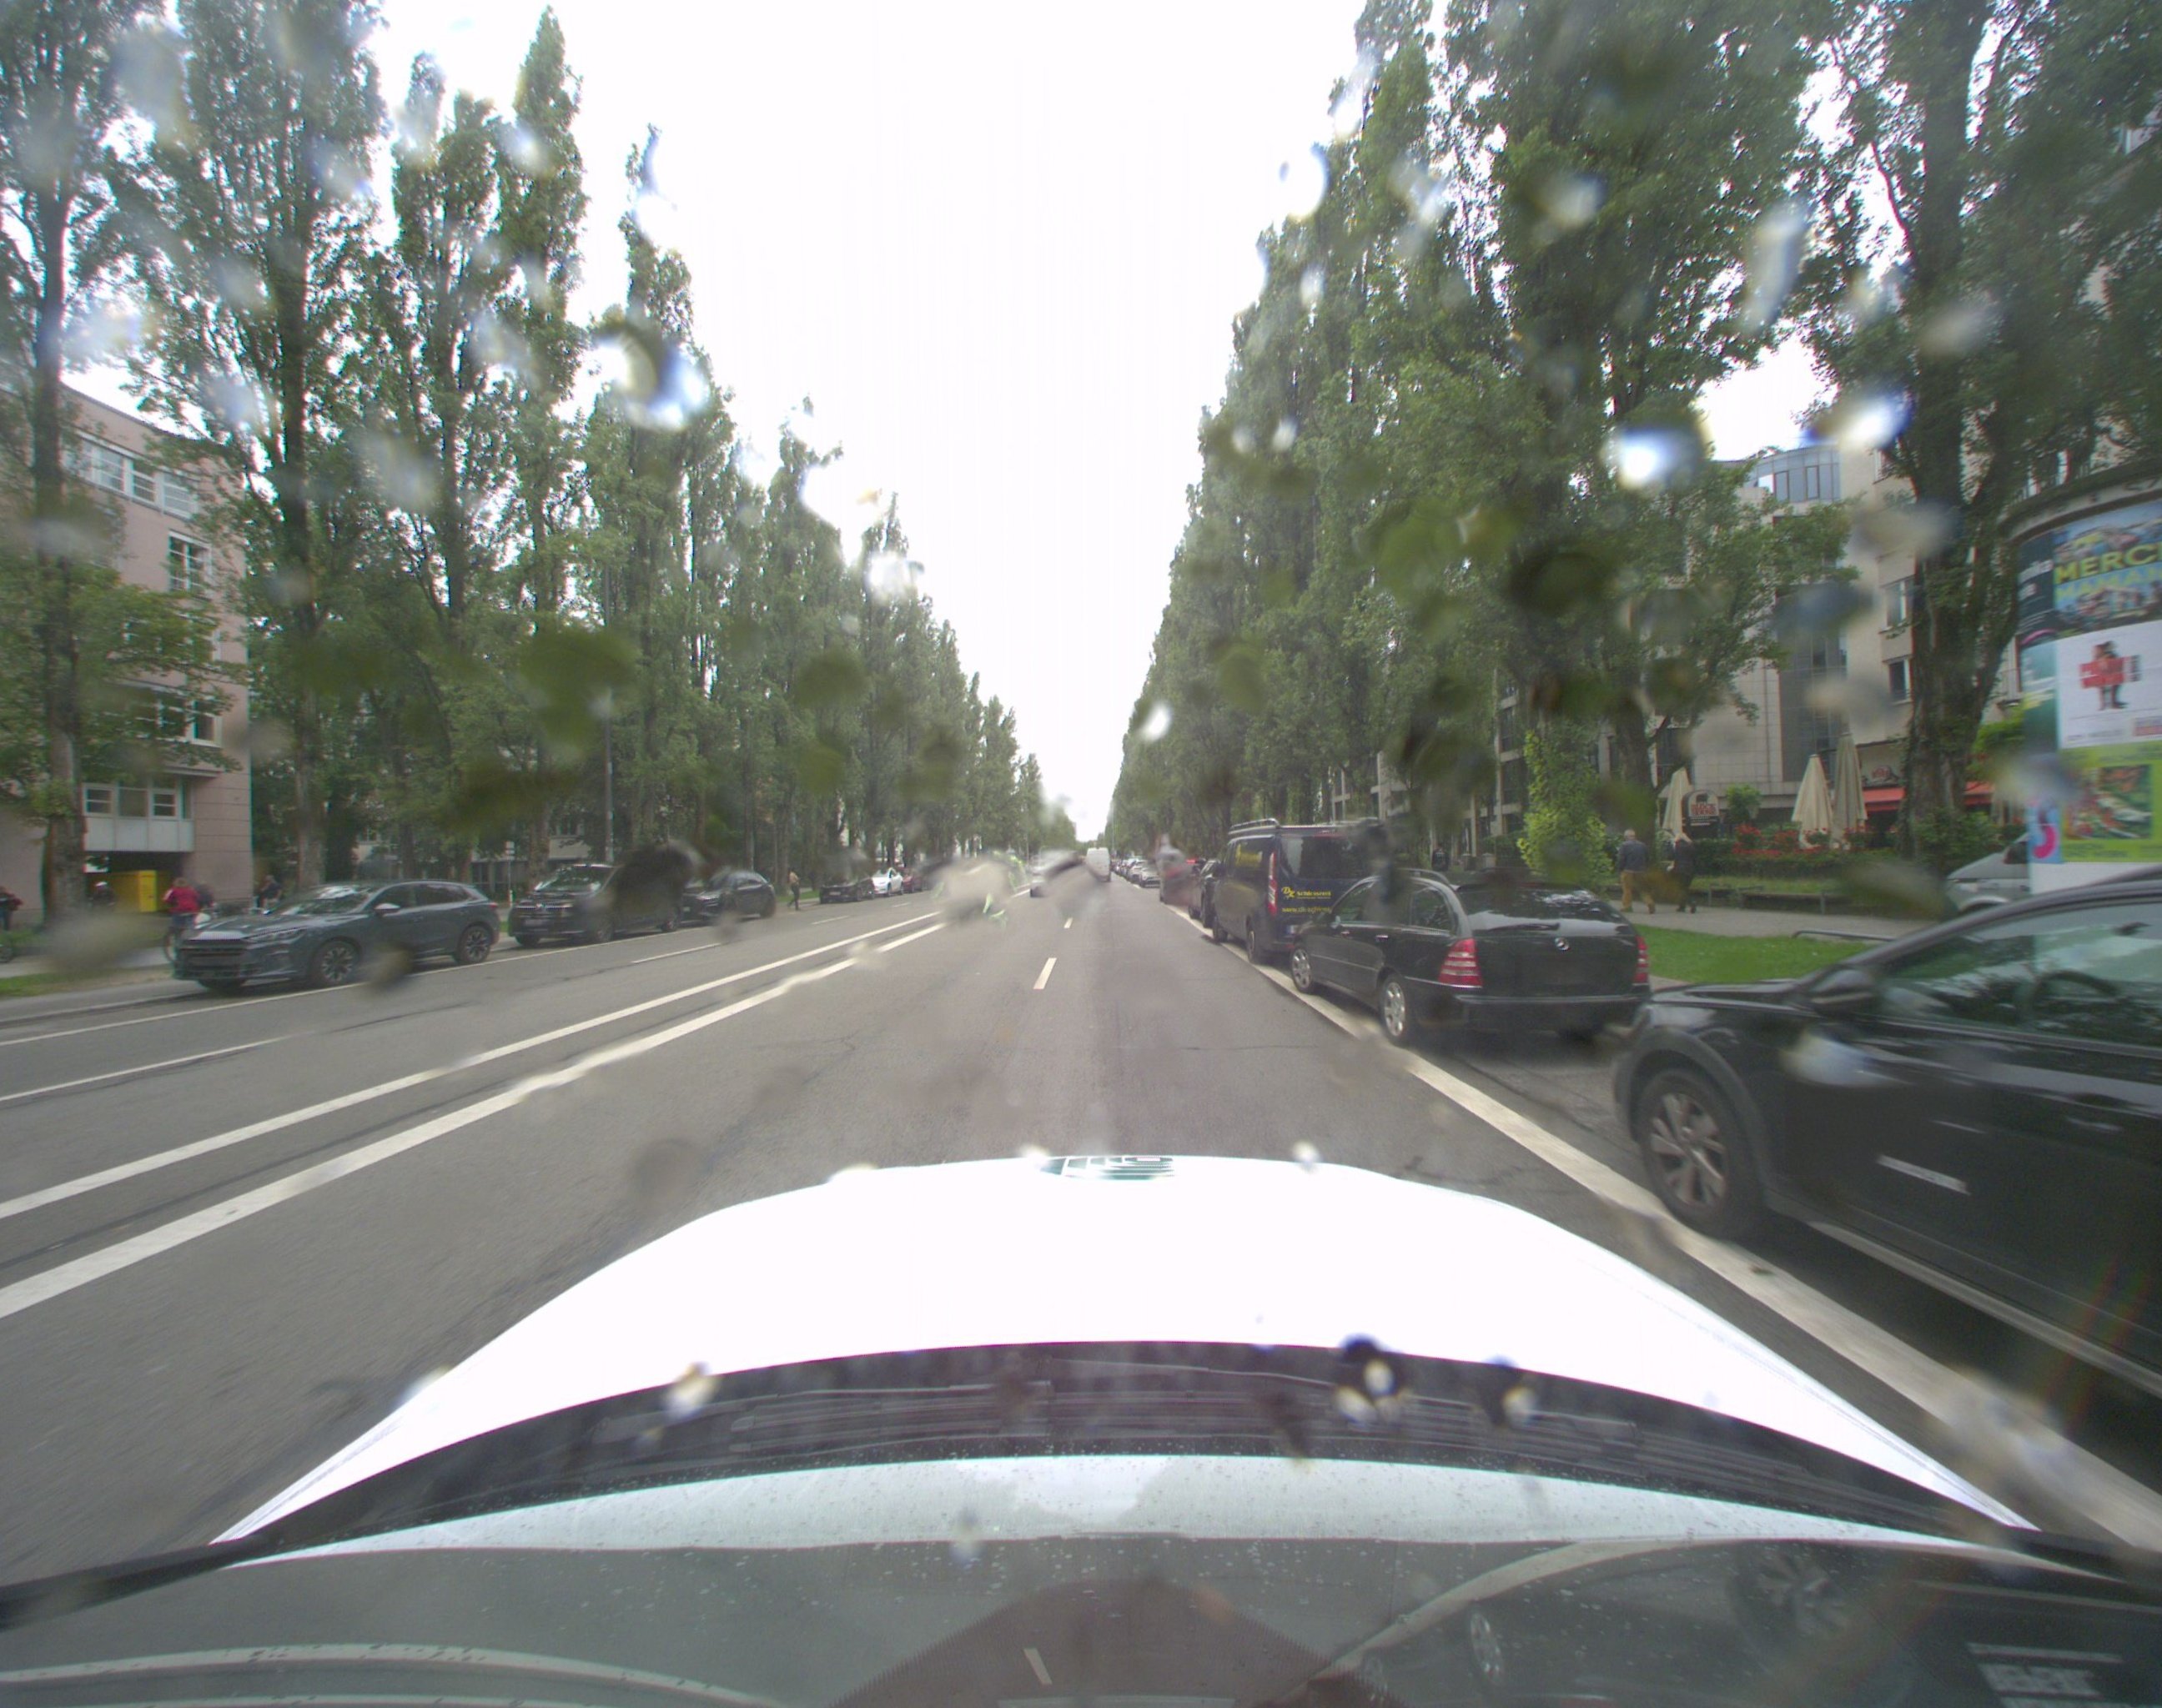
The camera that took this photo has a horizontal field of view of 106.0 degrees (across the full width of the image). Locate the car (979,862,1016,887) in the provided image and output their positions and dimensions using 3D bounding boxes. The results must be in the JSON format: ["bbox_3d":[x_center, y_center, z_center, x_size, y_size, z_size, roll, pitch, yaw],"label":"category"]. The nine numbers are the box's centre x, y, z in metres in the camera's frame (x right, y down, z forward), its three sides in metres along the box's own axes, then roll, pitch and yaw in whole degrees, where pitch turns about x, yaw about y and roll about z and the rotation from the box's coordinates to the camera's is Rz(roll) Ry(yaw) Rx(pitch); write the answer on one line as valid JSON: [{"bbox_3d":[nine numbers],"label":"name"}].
[{"bbox_3d":[-5.562,1.347,54.718,1.987,1.548,4.638,0,0,1],"label":"car"}]

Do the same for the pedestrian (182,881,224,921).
[{"bbox_3d":[-38.083,2.016,35.341,0.811,1.662,0.897,-2,-1,1],"label":"pedestrian"}]

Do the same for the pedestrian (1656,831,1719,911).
[{"bbox_3d":[12.656,0.350,17.014,0.692,1.606,0.835,-2,0,5],"label":"pedestrian"}]

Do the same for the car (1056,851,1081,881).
[{"bbox_3d":[-1.097,1.065,73.506,2.069,2.556,5.931,0,0,0],"label":"car"}]

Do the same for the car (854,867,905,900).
[{"bbox_3d":[-11.073,1.568,45.022,1.755,1.579,3.973,-2,1,1],"label":"car"}]

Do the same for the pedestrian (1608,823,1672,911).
[{"bbox_3d":[11.833,0.281,17.255,0.744,1.803,0.844,-2,-1,5],"label":"pedestrian"}]

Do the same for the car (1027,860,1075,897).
[{"bbox_3d":[-1.305,1.060,37.634,1.987,1.575,4.638,0,0,1],"label":"car"}]

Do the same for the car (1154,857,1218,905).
[{"bbox_3d":[3.695,0.923,29.299,1.737,1.591,3.949,0,-1,-1],"label":"car"}]

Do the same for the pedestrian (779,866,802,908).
[{"bbox_3d":[-11.592,1.312,32.528,0.666,1.657,0.600,-2,-1,-5],"label":"pedestrian"}]

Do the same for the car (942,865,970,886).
[{"bbox_3d":[-10.712,1.827,69.885,1.755,1.579,3.462,-2,1,1],"label":"car"}]

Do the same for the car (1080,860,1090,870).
[{"bbox_3d":[0.637,1.931,143.264,1.737,1.643,3.949,0,-1,-1],"label":"car"}]

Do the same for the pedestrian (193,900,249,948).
[{"bbox_3d":[-23.063,1.871,21.849,0.704,1.204,0.732,-2,0,1],"label":"pedestrian"}]

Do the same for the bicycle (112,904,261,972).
[{"bbox_3d":[-16.457,1.529,15.009,1.975,1.124,0.676,-2,0,1],"label":"bicycle"}]

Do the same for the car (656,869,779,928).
[{"bbox_3d":[-11.372,1.334,25.827,1.988,1.606,4.350,-2,0,-2],"label":"car"}]

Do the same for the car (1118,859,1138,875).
[{"bbox_3d":[4.823,1.340,83.552,1.737,1.643,3.949,0,-1,-1],"label":"car"}]

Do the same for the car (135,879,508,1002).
[{"bbox_3d":[-12.079,1.264,13.476,1.986,1.542,4.326,-2,0,2],"label":"car"}]

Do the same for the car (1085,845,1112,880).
[{"bbox_3d":[1.348,0.618,64.828,2.033,2.652,6.042,0,0,1],"label":"car"}]

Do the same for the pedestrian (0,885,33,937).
[{"bbox_3d":[-35.912,1.901,27.136,0.811,1.662,0.897,-2,-1,1],"label":"pedestrian"}]

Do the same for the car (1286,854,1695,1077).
[{"bbox_3d":[3.381,0.791,7.771,1.737,1.527,4.233,0,-1,-1],"label":"car"}]

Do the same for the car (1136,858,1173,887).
[{"bbox_3d":[4.243,1.049,47.544,1.737,1.643,3.949,0,-1,-1],"label":"car"}]

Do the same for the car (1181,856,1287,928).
[{"bbox_3d":[3.537,0.840,19.461,1.737,1.527,3.949,0,-1,-1],"label":"car"}]

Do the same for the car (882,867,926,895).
[{"bbox_3d":[-10.998,1.665,50.792,1.755,1.579,3.973,-2,0,1],"label":"car"}]

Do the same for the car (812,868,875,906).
[{"bbox_3d":[-11.375,1.540,39.319,1.936,1.579,3.609,-2,1,0],"label":"car"}]

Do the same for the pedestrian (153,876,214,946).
[{"bbox_3d":[-22.908,1.433,20.797,0.704,1.713,0.732,-2,-1,1],"label":"pedestrian"}]

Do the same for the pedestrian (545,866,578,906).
[{"bbox_3d":[-22.298,1.363,34.967,0.811,1.662,0.897,-2,-1,1],"label":"pedestrian"}]

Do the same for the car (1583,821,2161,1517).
[{"bbox_3d":[3.242,0.688,1.980,1.736,1.527,3.909,0,-1,2],"label":"car"}]

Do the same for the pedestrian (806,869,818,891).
[{"bbox_3d":[-18.727,1.811,56.736,0.589,1.493,0.678,-2,-1,1],"label":"pedestrian"}]

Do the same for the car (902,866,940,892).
[{"bbox_3d":[-11.035,1.697,56.392,1.755,1.579,3.973,-2,1,1],"label":"car"}]

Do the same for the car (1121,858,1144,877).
[{"bbox_3d":[4.586,1.160,73.139,1.737,1.643,3.949,0,-1,-1],"label":"car"}]

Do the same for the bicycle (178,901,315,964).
[{"bbox_3d":[-16.375,1.528,16.008,1.975,1.124,0.676,-2,0,1],"label":"bicycle"}]

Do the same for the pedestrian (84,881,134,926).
[{"bbox_3d":[-37.867,1.926,31.737,0.811,1.662,0.897,-2,-1,1],"label":"pedestrian"}]

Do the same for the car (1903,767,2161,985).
[{"bbox_3d":[10.265,0.163,6.702,1.802,1.896,5.205,-2,-1,2],"label":"car"}]

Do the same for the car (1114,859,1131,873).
[{"bbox_3d":[4.840,1.404,94.891,1.737,1.643,3.949,0,-1,-1],"label":"car"}]

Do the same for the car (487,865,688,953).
[{"bbox_3d":[-11.865,1.224,20.071,1.987,1.797,4.761,-2,0,0],"label":"car"}]

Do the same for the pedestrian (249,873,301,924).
[{"bbox_3d":[-27.348,1.510,27.643,0.811,1.662,0.897,-2,-1,1],"label":"pedestrian"}]

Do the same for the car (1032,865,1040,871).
[{"bbox_3d":[-9.850,3.084,179.249,1.546,1.347,3.462,-2,1,1],"label":"car"}]

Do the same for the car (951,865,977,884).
[{"bbox_3d":[-10.645,1.851,74.026,1.755,1.579,3.462,-2,1,1],"label":"car"}]

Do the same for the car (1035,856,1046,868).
[{"bbox_3d":[-9.421,1.811,189.664,2.185,2.718,7.001,-2,1,1],"label":"car"}]

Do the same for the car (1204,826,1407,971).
[{"bbox_3d":[3.405,0.620,13.459,1.905,1.924,5.037,0,-1,-1],"label":"car"}]

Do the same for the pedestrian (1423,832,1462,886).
[{"bbox_3d":[12.138,0.163,27.365,0.905,1.752,0.861,-2,-1,1],"label":"pedestrian"}]

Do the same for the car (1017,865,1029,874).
[{"bbox_3d":[-9.199,2.441,129.445,1.546,1.347,3.462,-2,1,1],"label":"car"}]

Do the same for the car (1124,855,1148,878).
[{"bbox_3d":[4.551,1.025,67.795,1.737,1.787,3.949,0,-1,-1],"label":"car"}]

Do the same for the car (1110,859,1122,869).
[{"bbox_3d":[5.614,1.565,131.267,1.737,1.643,3.949,0,-1,-1],"label":"car"}]

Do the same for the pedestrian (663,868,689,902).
[{"bbox_3d":[-20.165,1.523,40.548,0.811,1.662,0.897,-2,-1,1],"label":"pedestrian"}]

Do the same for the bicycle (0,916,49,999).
[{"bbox_3d":[-16.130,1.503,11.599,1.975,1.124,0.676,-2,0,1],"label":"bicycle"}]

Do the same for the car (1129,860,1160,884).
[{"bbox_3d":[4.288,1.196,55.606,1.737,1.546,3.949,0,-1,-1],"label":"car"}]

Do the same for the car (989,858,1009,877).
[{"bbox_3d":[-10.308,1.663,102.729,1.987,2.119,5.001,-2,1,1],"label":"car"}]
